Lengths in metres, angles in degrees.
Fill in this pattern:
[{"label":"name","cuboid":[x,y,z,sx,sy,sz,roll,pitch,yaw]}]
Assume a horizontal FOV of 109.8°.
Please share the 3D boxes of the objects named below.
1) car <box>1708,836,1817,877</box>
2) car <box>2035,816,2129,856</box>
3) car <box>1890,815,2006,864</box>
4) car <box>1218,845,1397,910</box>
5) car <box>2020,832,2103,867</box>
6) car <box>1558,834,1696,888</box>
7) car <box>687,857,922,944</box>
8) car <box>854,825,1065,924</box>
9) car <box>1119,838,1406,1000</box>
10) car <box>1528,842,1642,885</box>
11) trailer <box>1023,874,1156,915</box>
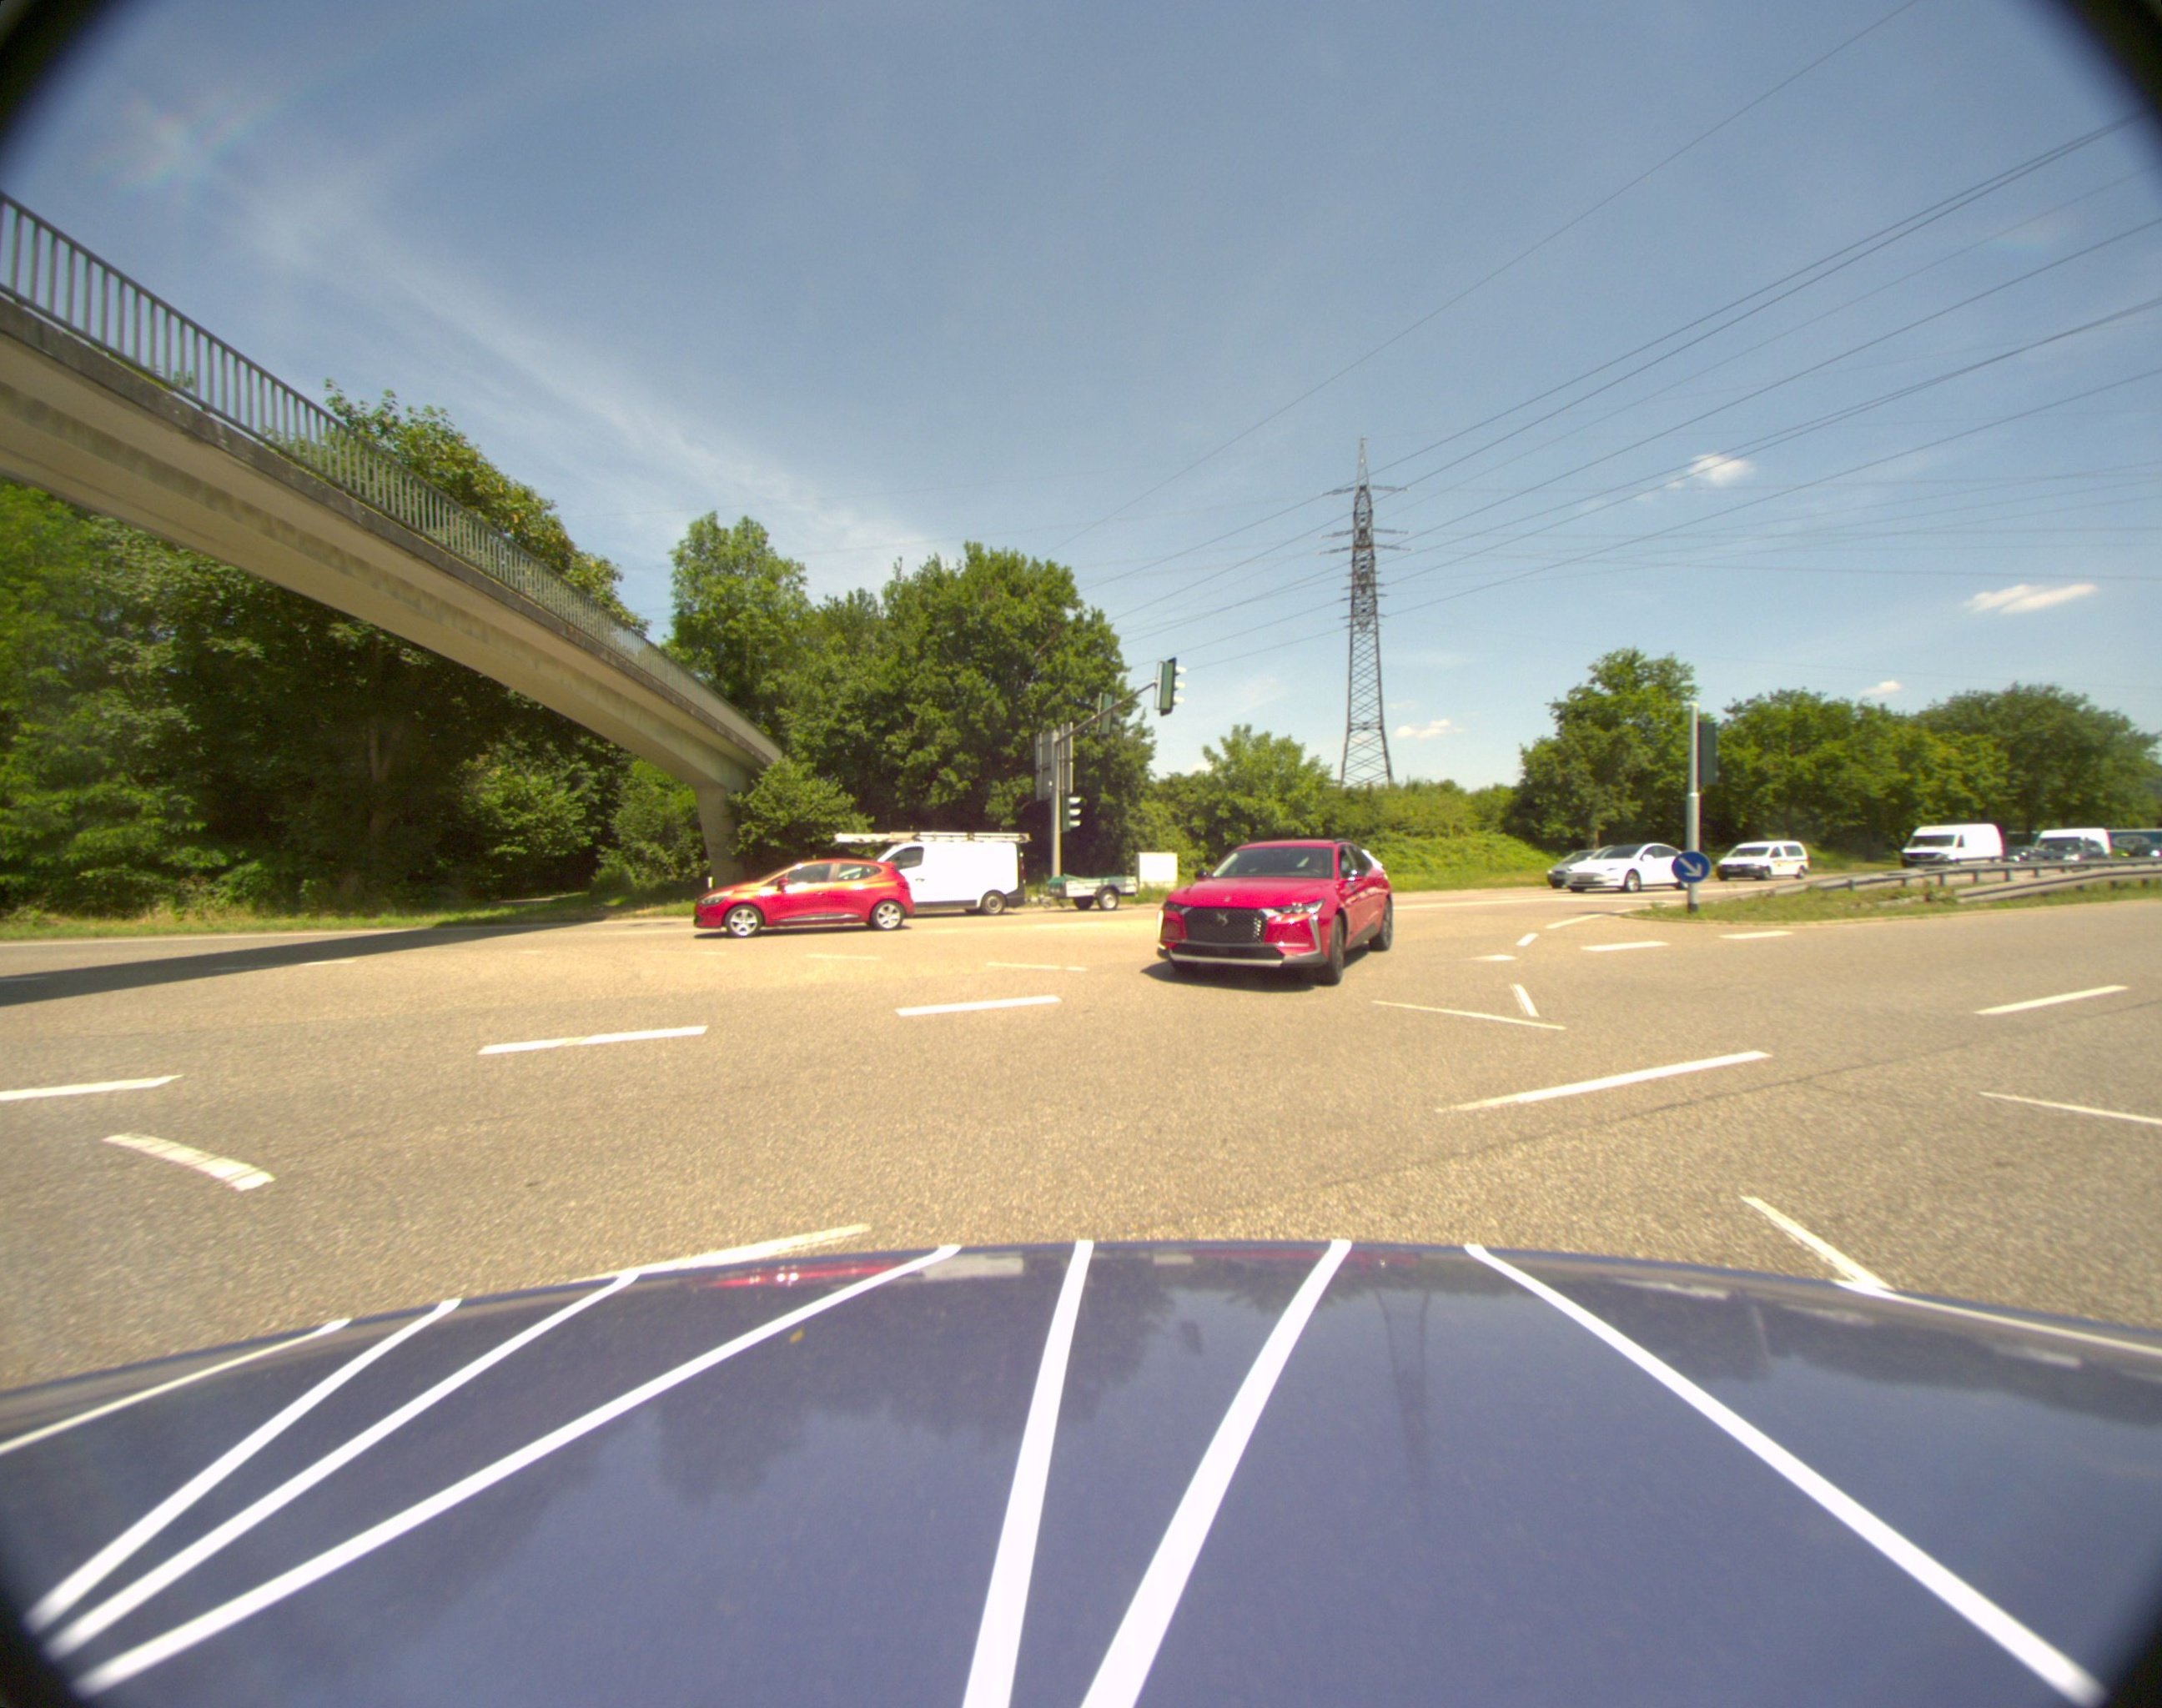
[{"label":"car","cuboid":[31.571,0.113,35.195,5.043,1.789,1.807,-1,-1,-24]},{"label":"car","cuboid":[66.201,-1.190,50.250,5.820,2.408,2.306,-1,-1,-23]},{"label":"car","cuboid":[49.105,-0.818,43.009,7.027,2.591,2.230,-1,-1,-24]},{"label":"car","cuboid":[6.055,0.600,20.290,4.368,1.558,1.848,-1,-1,-23]},{"label":"car","cuboid":[52.234,-0.230,40.482,4.005,1.674,1.876,-2,-1,-26]},{"label":"car","cuboid":[18.320,0.233,25.497,4.005,1.671,2.020,-1,-1,-25]},{"label":"car","cuboid":[-5.356,0.836,14.875,4.070,1.452,1.745,-1,-1,-25]},{"label":"car","cuboid":[-3.179,0.473,19.935,5.081,2.335,1.935,-1,-1,-24]},{"label":"car","cuboid":[2.436,0.633,9.190,1.843,1.452,4.423,-2,-2,35]},{"label":"car","cuboid":[20.338,0.383,30.640,4.277,1.584,1.745,-1,-1,-23]},{"label":"trailer","cuboid":[0.235,1.099,21.464,3.327,1.000,1.708,-1,-1,-23]}]
